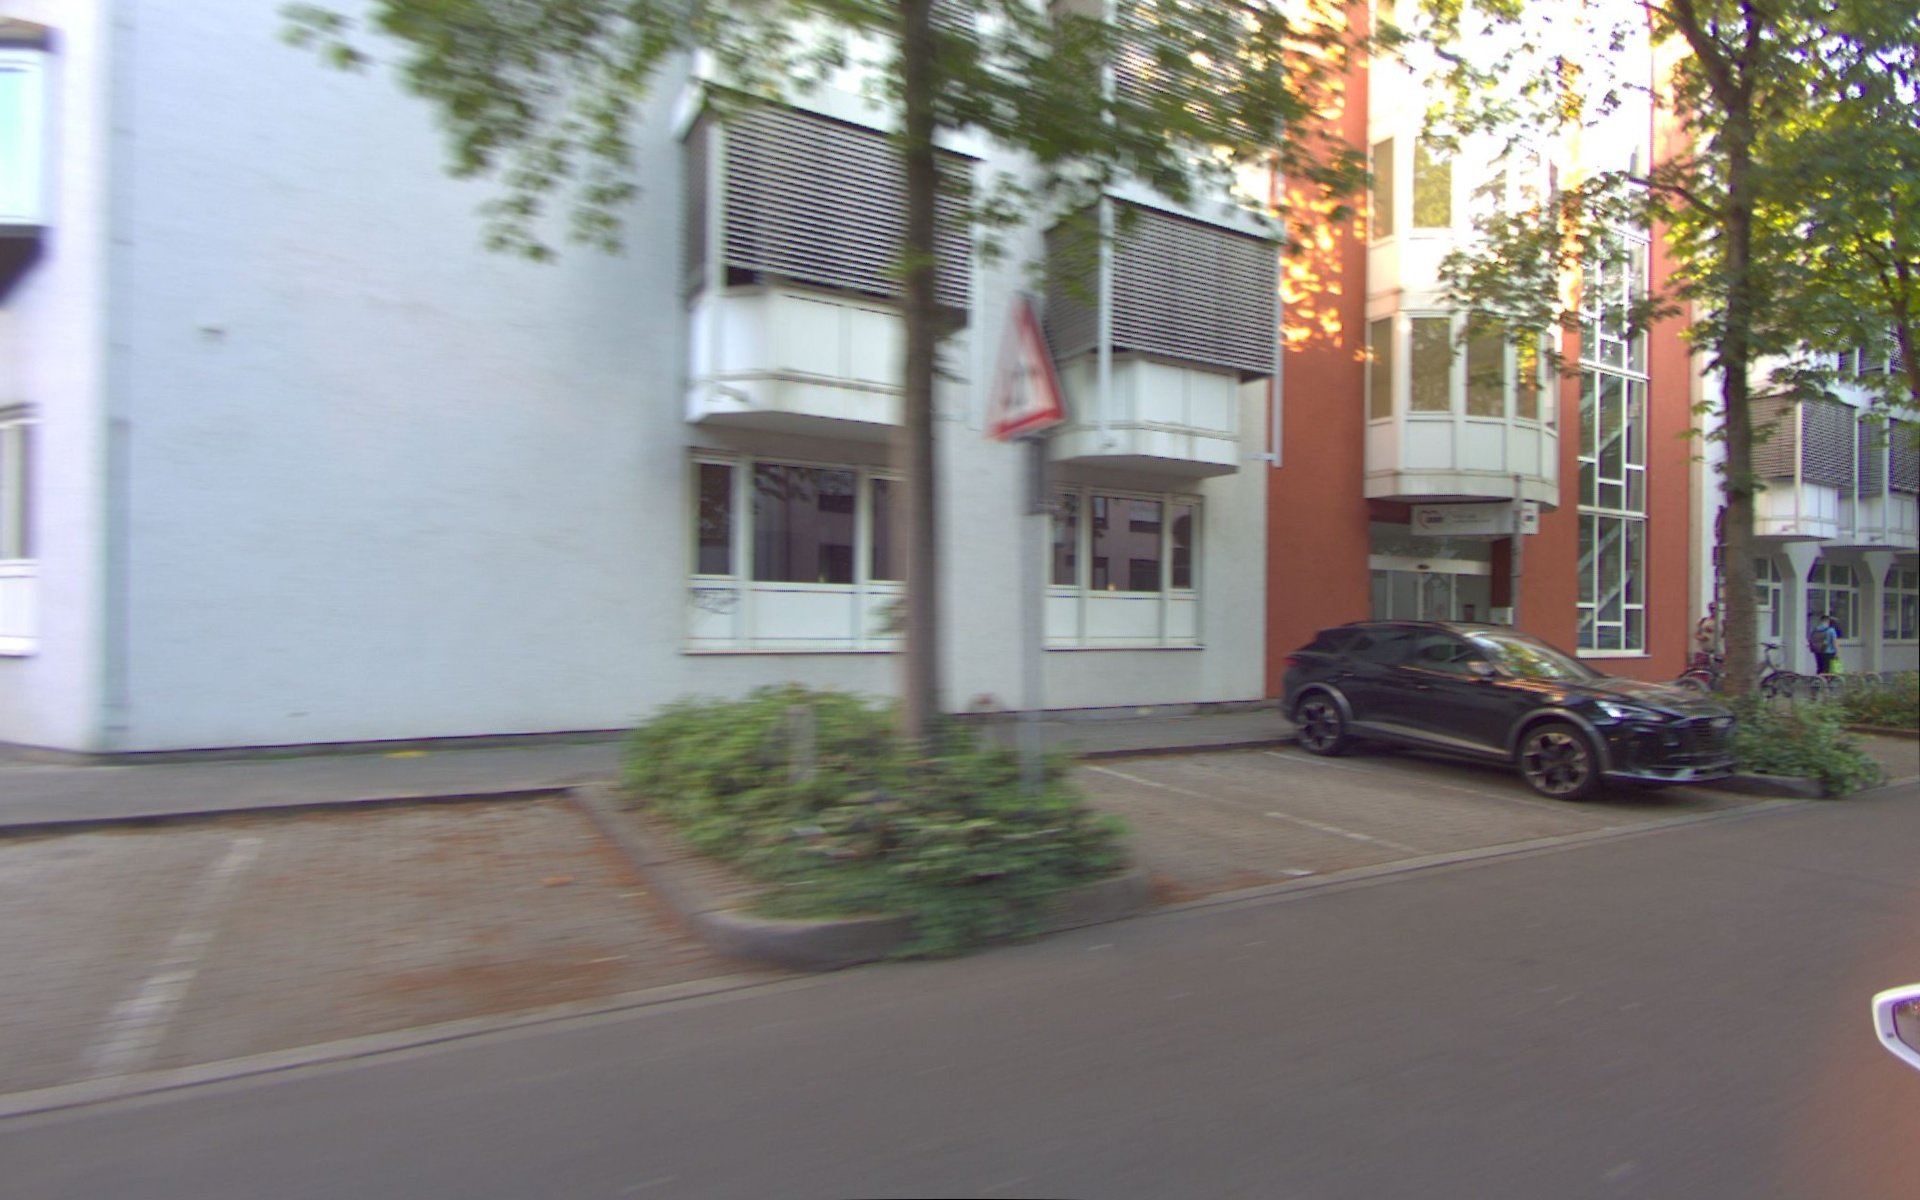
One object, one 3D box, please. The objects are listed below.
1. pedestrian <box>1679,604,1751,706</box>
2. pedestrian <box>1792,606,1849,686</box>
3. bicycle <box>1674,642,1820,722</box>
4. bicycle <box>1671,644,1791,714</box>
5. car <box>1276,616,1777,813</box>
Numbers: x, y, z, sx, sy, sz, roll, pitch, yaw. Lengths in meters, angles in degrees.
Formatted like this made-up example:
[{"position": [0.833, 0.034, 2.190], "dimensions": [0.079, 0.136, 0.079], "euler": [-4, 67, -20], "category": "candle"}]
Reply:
[{"position": [13.479, 0.962, 17.943], "dimensions": [0.726, 1.780, 0.705], "euler": [1, 0, -6], "category": "pedestrian"}, {"position": [19.353, 1.017, 22.591], "dimensions": [0.894, 1.751, 0.700], "euler": [1, 0, -30], "category": "pedestrian"}, {"position": [12.407, 1.273, 15.902], "dimensions": [1.771, 1.122, 0.498], "euler": [1, 0, 37], "category": "bicycle"}, {"position": [13.060, 1.314, 17.084], "dimensions": [0.491, 1.043, 1.798], "euler": [1, 0, -7], "category": "bicycle"}, {"position": [5.522, 0.963, 10.360], "dimensions": [1.907, 1.506, 4.107], "euler": [1, 0, -30], "category": "car"}]
